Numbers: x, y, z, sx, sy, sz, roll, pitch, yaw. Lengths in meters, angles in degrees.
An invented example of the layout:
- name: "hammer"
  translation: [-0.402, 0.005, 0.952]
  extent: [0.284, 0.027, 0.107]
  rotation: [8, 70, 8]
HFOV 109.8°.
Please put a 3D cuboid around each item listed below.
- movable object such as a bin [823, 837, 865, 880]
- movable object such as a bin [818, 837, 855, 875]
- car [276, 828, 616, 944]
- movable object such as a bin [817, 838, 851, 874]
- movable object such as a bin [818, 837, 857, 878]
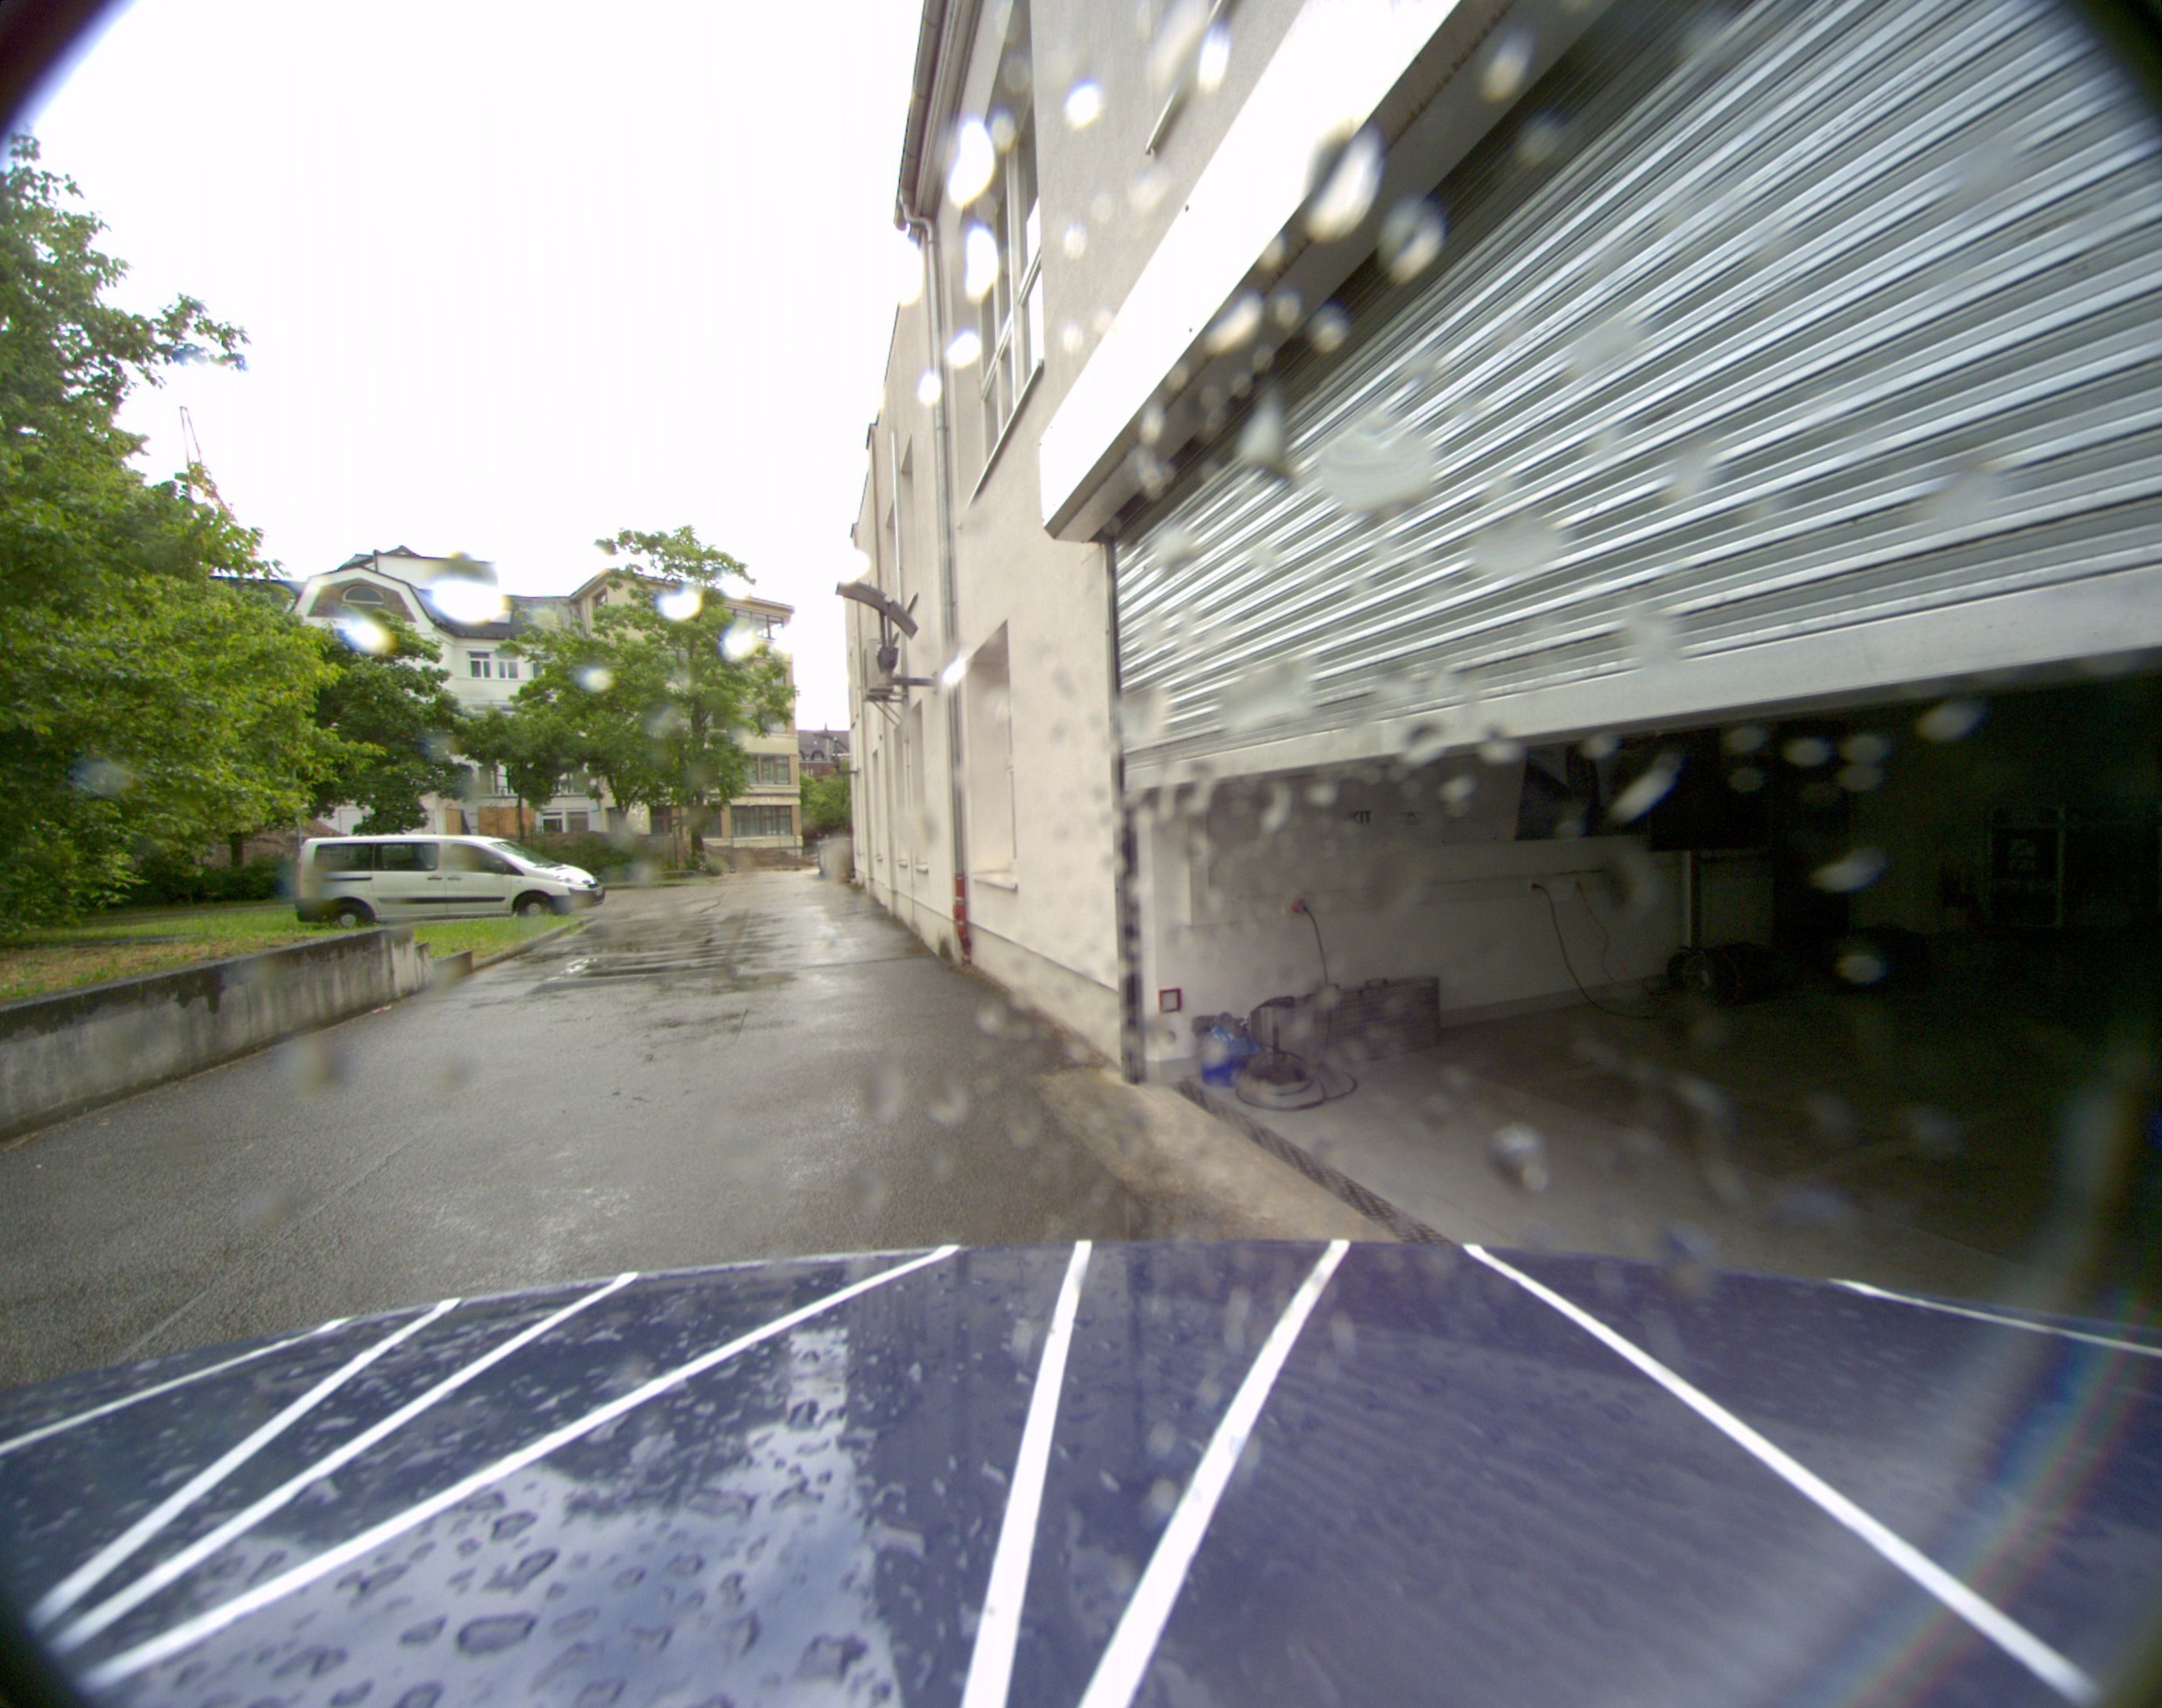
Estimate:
- name: "movable object such as a bin"
  translation: [-8.523, 0.136, 27.271]
  extent: [1.169, 1.475, 1.591]
  rotation: [-2, 2, -26]
- name: "movable object such as a bin"
  translation: [-10.149, 0.077, 31.483]
  extent: [1.169, 1.474, 1.400]
  rotation: [-4, 1, -27]
- name: "car"
  translation: [-12.877, 0.540, 15.900]
  extent: [4.893, 1.915, 2.095]
  rotation: [-4, 4, -18]
- name: "movable object such as a bin"
  translation: [-10.675, 0.068, 32.920]
  extent: [1.105, 1.465, 1.483]
  rotation: [-3, 3, -10]
- name: "movable object such as a bin"
  translation: [-9.231, 0.115, 28.735]
  extent: [1.169, 1.475, 1.493]
  rotation: [-2, 2, -26]
